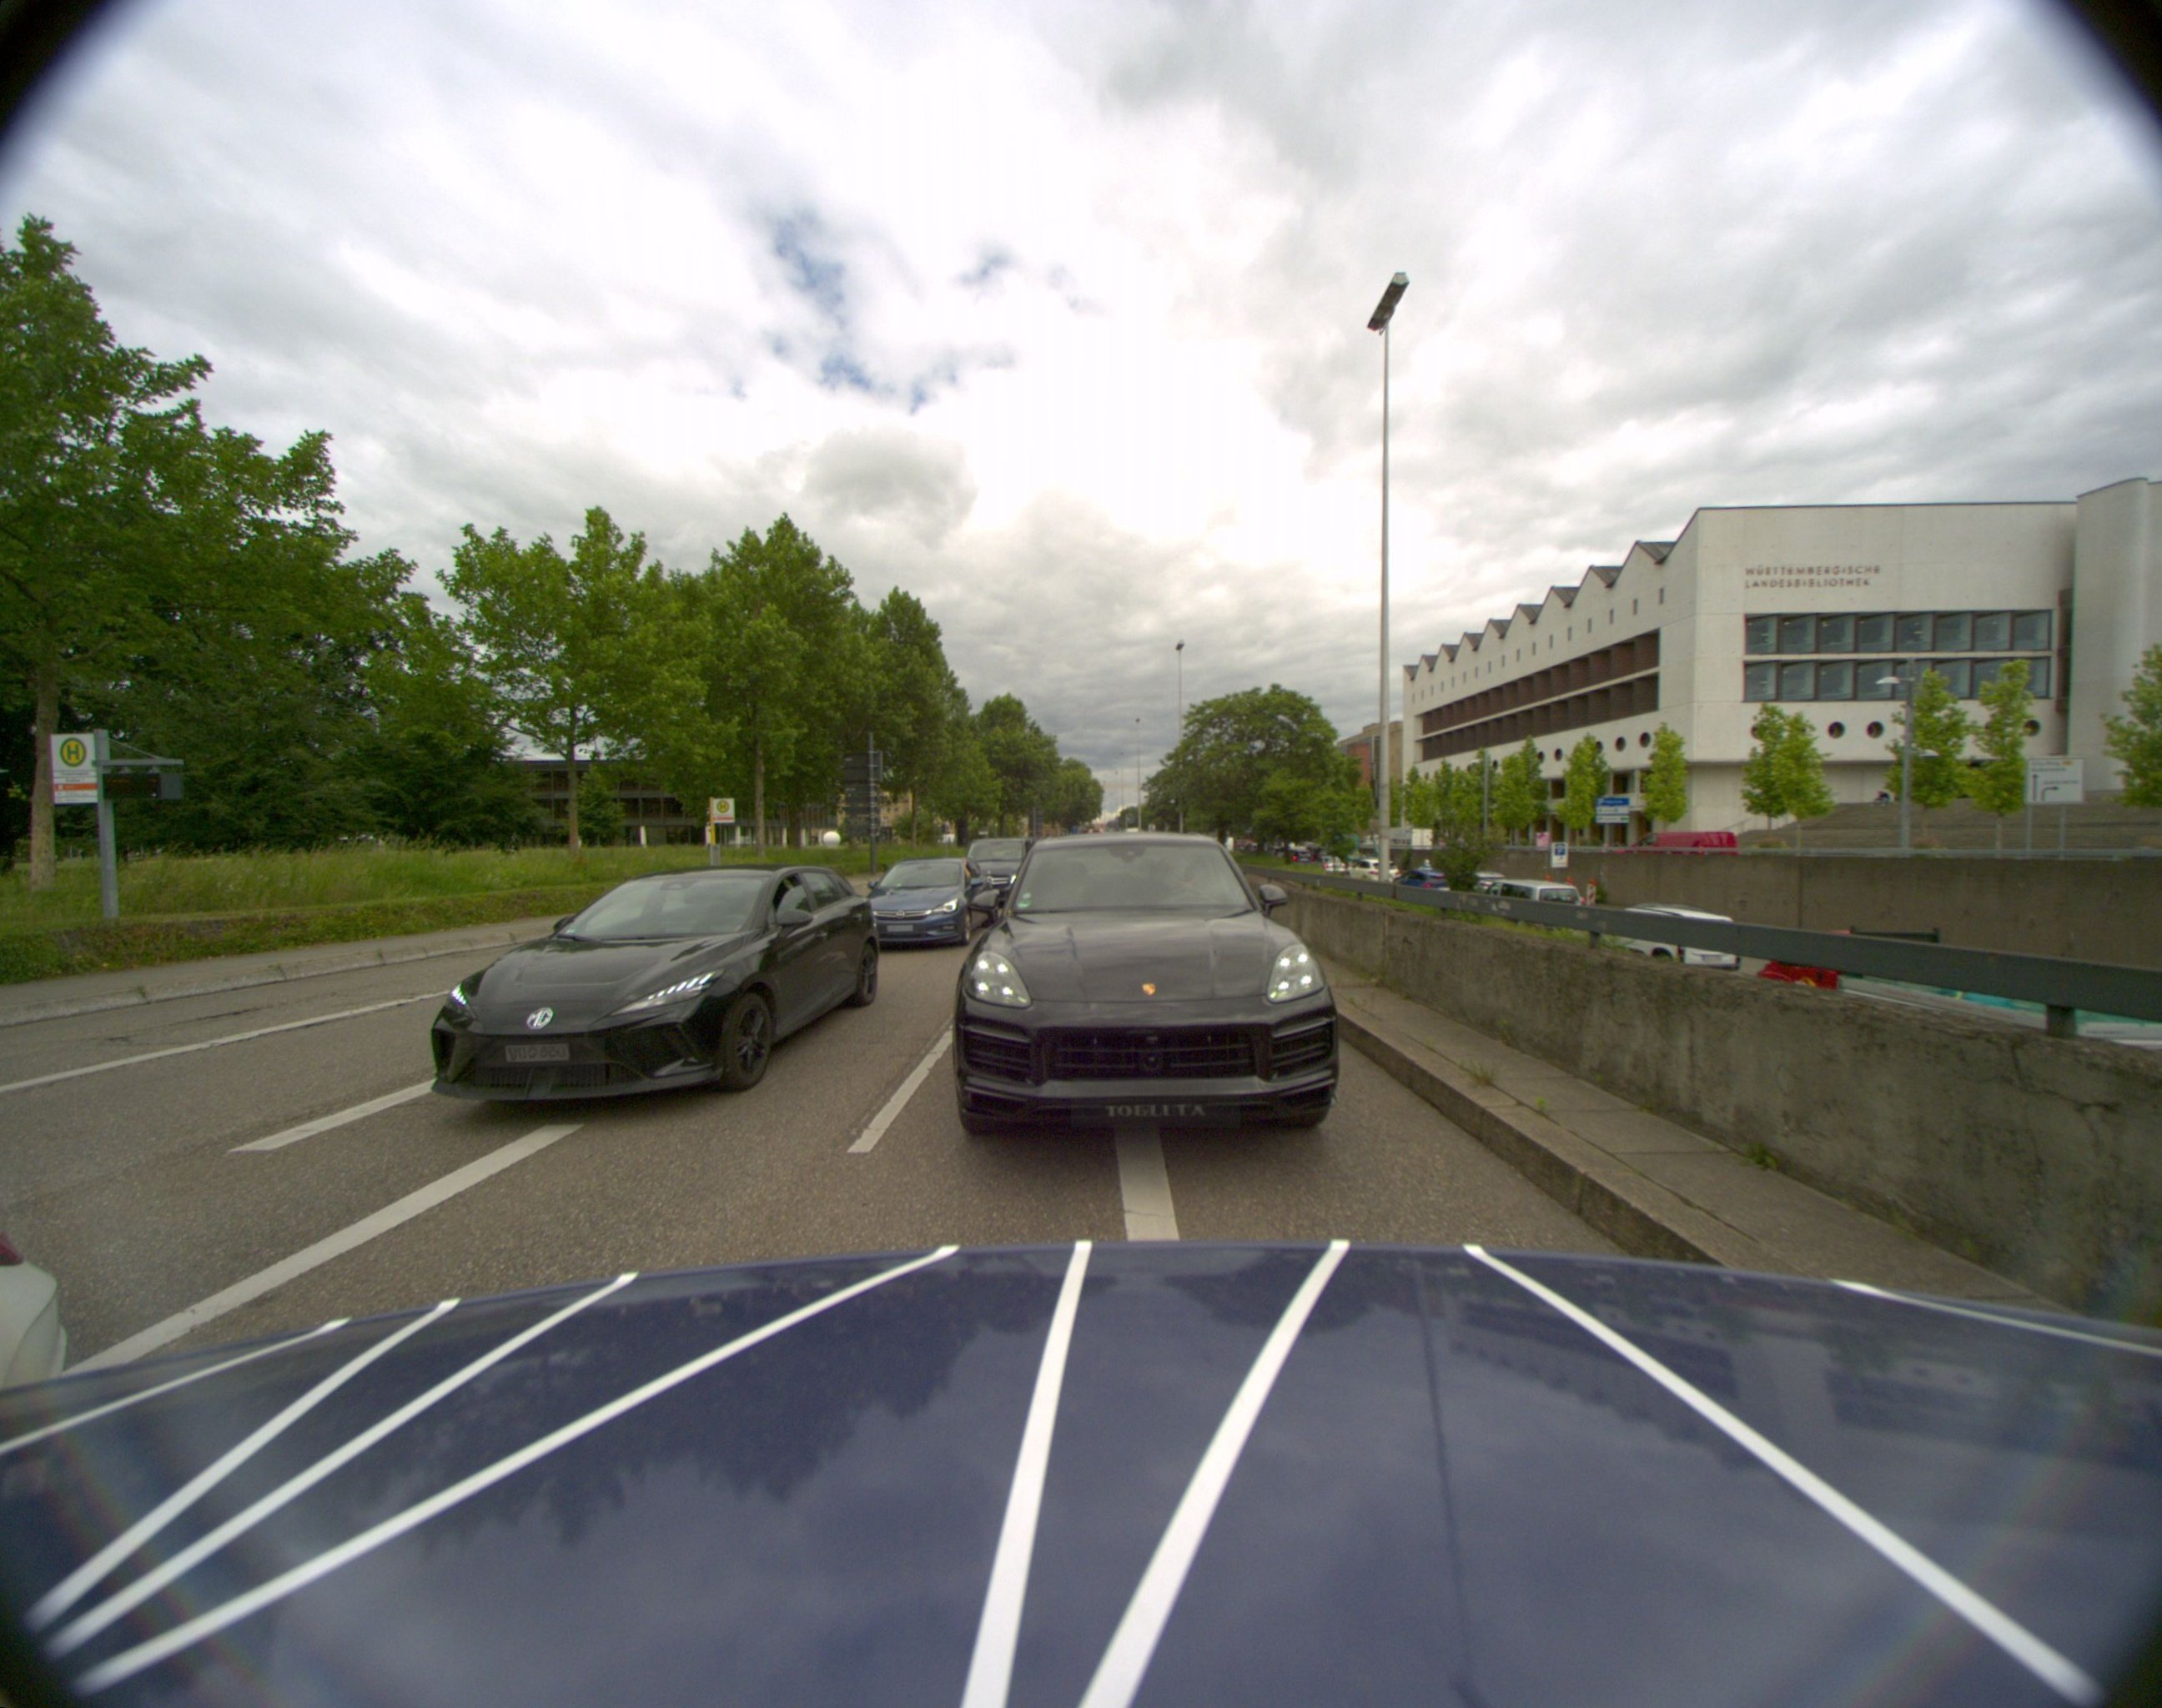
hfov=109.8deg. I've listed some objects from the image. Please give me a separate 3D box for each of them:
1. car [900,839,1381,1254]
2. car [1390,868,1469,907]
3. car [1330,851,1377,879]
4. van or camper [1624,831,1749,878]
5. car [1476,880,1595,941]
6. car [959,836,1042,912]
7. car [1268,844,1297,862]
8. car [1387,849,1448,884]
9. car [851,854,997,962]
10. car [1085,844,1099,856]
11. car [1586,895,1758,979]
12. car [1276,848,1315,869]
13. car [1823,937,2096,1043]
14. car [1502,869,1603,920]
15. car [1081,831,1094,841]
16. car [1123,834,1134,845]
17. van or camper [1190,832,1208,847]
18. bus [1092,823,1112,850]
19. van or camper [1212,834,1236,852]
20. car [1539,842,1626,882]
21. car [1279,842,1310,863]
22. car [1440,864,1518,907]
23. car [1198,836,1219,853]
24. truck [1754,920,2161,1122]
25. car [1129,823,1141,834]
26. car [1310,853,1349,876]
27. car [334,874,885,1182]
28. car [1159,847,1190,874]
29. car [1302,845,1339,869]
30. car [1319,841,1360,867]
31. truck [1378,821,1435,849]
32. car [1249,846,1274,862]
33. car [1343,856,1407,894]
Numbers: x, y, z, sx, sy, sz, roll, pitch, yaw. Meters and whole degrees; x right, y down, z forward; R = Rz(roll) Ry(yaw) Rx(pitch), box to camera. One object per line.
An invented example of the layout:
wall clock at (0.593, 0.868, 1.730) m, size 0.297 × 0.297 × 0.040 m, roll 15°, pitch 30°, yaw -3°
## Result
car at (0.277, 0.798, 5.476) m, size 1.937 × 1.668 × 4.679 m, roll -2°, pitch 0°, yaw 1°
car at (17.558, 1.634, 38.502) m, size 1.998 × 1.733 × 4.281 m, roll 2°, pitch 0°, yaw 1°
car at (21.046, 0.811, 58.946) m, size 1.998 × 2.002 × 4.655 m, roll -2°, pitch 0°, yaw 1°
van or camper at (27.663, 0.025, 34.948) m, size 1.999 × 2.002 × 4.556 m, roll -1°, pitch 0°, yaw -1°
car at (17.602, 2.110, 29.702) m, size 1.998 × 2.002 × 4.332 m, roll 2°, pitch 0°, yaw 1°
car at (-2.118, 0.483, 21.190) m, size 1.723 × 1.851 × 4.430 m, roll -2°, pitch 1°, yaw 1°
car at (17.851, -0.079, 67.494) m, size 1.675 × 1.477 × 3.361 m, roll -2°, pitch 0°, yaw 1°
car at (20.979, 0.753, 47.543) m, size 1.998 × 2.002 × 4.000 m, roll 2°, pitch 0°, yaw 1°
car at (-2.571, 0.815, 13.371) m, size 1.573 × 1.528 × 4.001 m, roll -2°, pitch 1°, yaw 2°
car at (1.353, -0.498, 93.718) m, size 1.565 × 1.409 × 3.619 m, roll -2°, pitch 0°, yaw 1°
car at (17.478, 2.387, 22.766) m, size 1.998 × 2.002 × 4.000 m, roll 2°, pitch 0°, yaw 1°
car at (17.279, 0.355, 61.319) m, size 1.998 × 1.650 × 4.000 m, roll -1°, pitch 0°, yaw 1°
car at (20.539, 3.090, 18.058) m, size 1.998 × 1.805 × 3.865 m, roll 0°, pitch 0°, yaw 0°
car at (21.143, 1.749, 34.284) m, size 1.998 × 2.002 × 4.000 m, roll 2°, pitch 0°, yaw 1°
car at (1.312, -3.571, 151.827) m, size 1.997 × 2.002 × 4.003 m, roll -2°, pitch 0°, yaw 9°
car at (9.000, -2.786, 144.397) m, size 1.998 × 2.002 × 4.000 m, roll -1°, pitch 0°, yaw 1°
van or camper at (17.704, -2.170, 114.334) m, size 2.036 × 2.002 × 4.000 m, roll -2°, pitch 0°, yaw 1°
bus at (3.550, -2.933, 129.274) m, size 3.043 × 4.328 × 8.748 m, roll -1°, pitch 1°, yaw 0°
van or camper at (16.755, -1.326, 89.313) m, size 2.036 × 2.002 × 4.000 m, roll -2°, pitch 0°, yaw 1°
car at (27.088, 0.395, 41.225) m, size 1.999 × 2.002 × 3.999 m, roll -2°, pitch 1°, yaw -1°
car at (21.382, -0.140, 76.163) m, size 1.998 × 2.002 × 4.000 m, roll 2°, pitch 0°, yaw 1°
car at (21.031, 1.619, 40.369) m, size 1.998 × 2.002 × 4.000 m, roll 2°, pitch 0°, yaw 1°
car at (16.907, -1.266, 100.928) m, size 1.998 × 2.002 × 4.000 m, roll -5°, pitch 0°, yaw 1°
truck at (17.287, 2.963, 15.239) m, size 2.324 × 2.675 × 5.979 m, roll -2°, pitch 0°, yaw 1°
car at (10.992, -5.197, 155.370) m, size 1.997 × 2.002 × 4.002 m, roll -2°, pitch 1°, yaw 9°
car at (17.474, 0.715, 53.590) m, size 1.675 × 1.477 × 3.361 m, roll 0°, pitch 1°, yaw 1°
car at (-3.087, 1.002, 6.181) m, size 1.829 × 1.515 × 4.119 m, roll -2°, pitch 0°, yaw 1°
car at (7.670, 0.500, 62.662) m, size 1.998 × 2.002 × 3.999 m, roll -2°, pitch 1°, yaw 1°
car at (21.324, 0.244, 67.856) m, size 1.998 × 2.002 × 4.000 m, roll 2°, pitch 0°, yaw 1°
car at (21.356, 0.024, 62.883) m, size 1.998 × 2.002 × 4.000 m, roll 2°, pitch 0°, yaw 1°
truck at (27.587, -1.552, 64.576) m, size 2.002 × 2.145 × 5.616 m, roll -2°, pitch 0°, yaw -5°
car at (17.895, -0.022, 75.373) m, size 1.675 × 1.477 × 3.361 m, roll -2°, pitch 0°, yaw 1°
car at (17.600, 1.207, 45.744) m, size 1.998 × 2.119 × 4.852 m, roll 2°, pitch 0°, yaw 1°
